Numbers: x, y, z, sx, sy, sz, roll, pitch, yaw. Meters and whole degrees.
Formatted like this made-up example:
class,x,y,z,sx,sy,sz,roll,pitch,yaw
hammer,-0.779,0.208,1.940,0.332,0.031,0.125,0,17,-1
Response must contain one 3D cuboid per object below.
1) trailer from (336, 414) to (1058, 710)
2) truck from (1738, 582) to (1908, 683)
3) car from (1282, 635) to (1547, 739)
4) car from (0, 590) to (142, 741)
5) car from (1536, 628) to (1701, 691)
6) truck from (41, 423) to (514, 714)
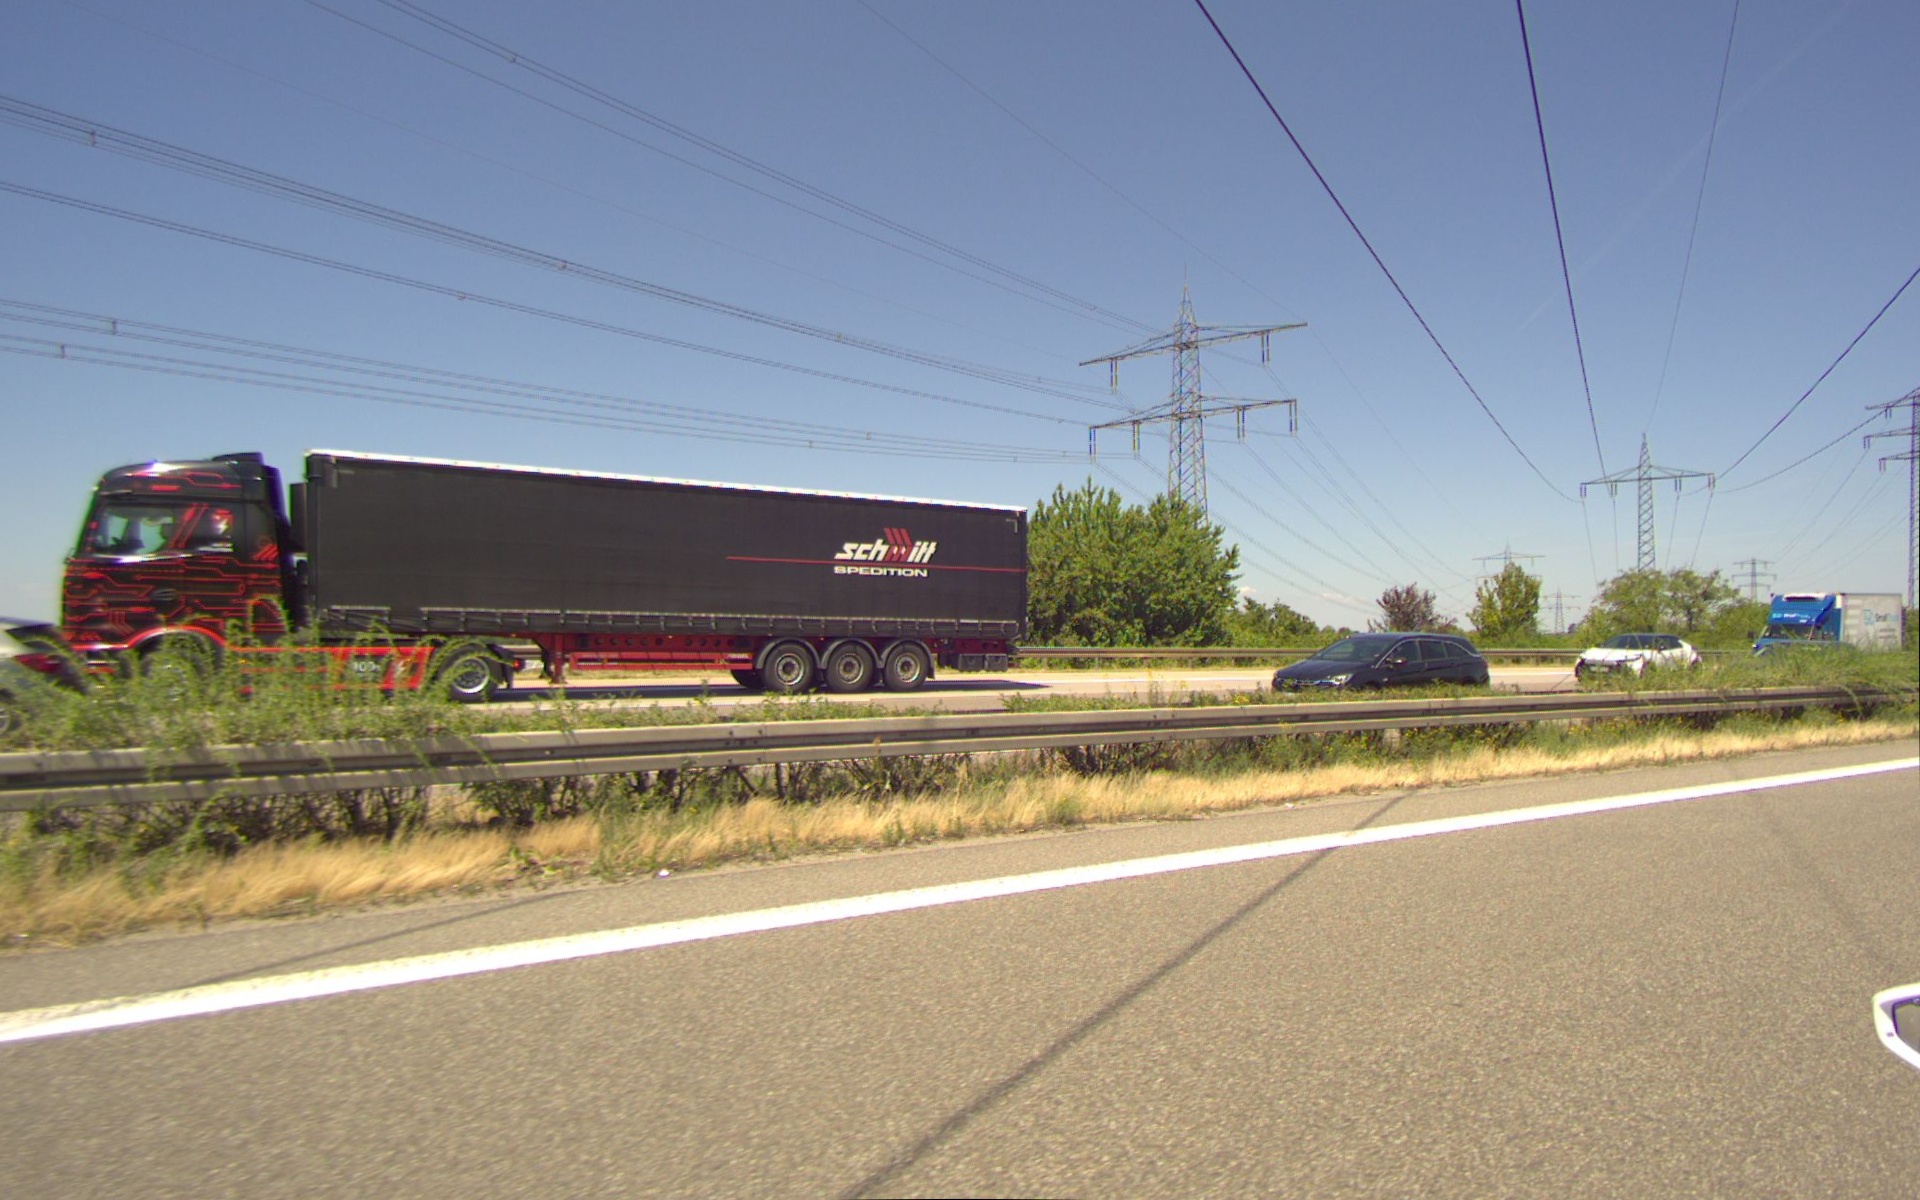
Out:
class,x,y,z,sx,sy,sz,roll,pitch,yaw
trailer,-4.407,-0.441,20.270,13.700,4.612,2.636,1,0,-30
truck,37.515,1.390,43.546,9.555,4.028,2.443,1,-3,-30
car,8.538,1.523,18.777,4.956,1.639,1.984,1,0,-30
car,-12.270,0.687,10.910,4.956,1.639,1.935,1,0,-30
car,19.211,1.673,29.271,4.956,1.639,1.984,1,0,-30
truck,-10.755,-0.343,16.566,5.920,4.035,2.636,2,-1,-30
